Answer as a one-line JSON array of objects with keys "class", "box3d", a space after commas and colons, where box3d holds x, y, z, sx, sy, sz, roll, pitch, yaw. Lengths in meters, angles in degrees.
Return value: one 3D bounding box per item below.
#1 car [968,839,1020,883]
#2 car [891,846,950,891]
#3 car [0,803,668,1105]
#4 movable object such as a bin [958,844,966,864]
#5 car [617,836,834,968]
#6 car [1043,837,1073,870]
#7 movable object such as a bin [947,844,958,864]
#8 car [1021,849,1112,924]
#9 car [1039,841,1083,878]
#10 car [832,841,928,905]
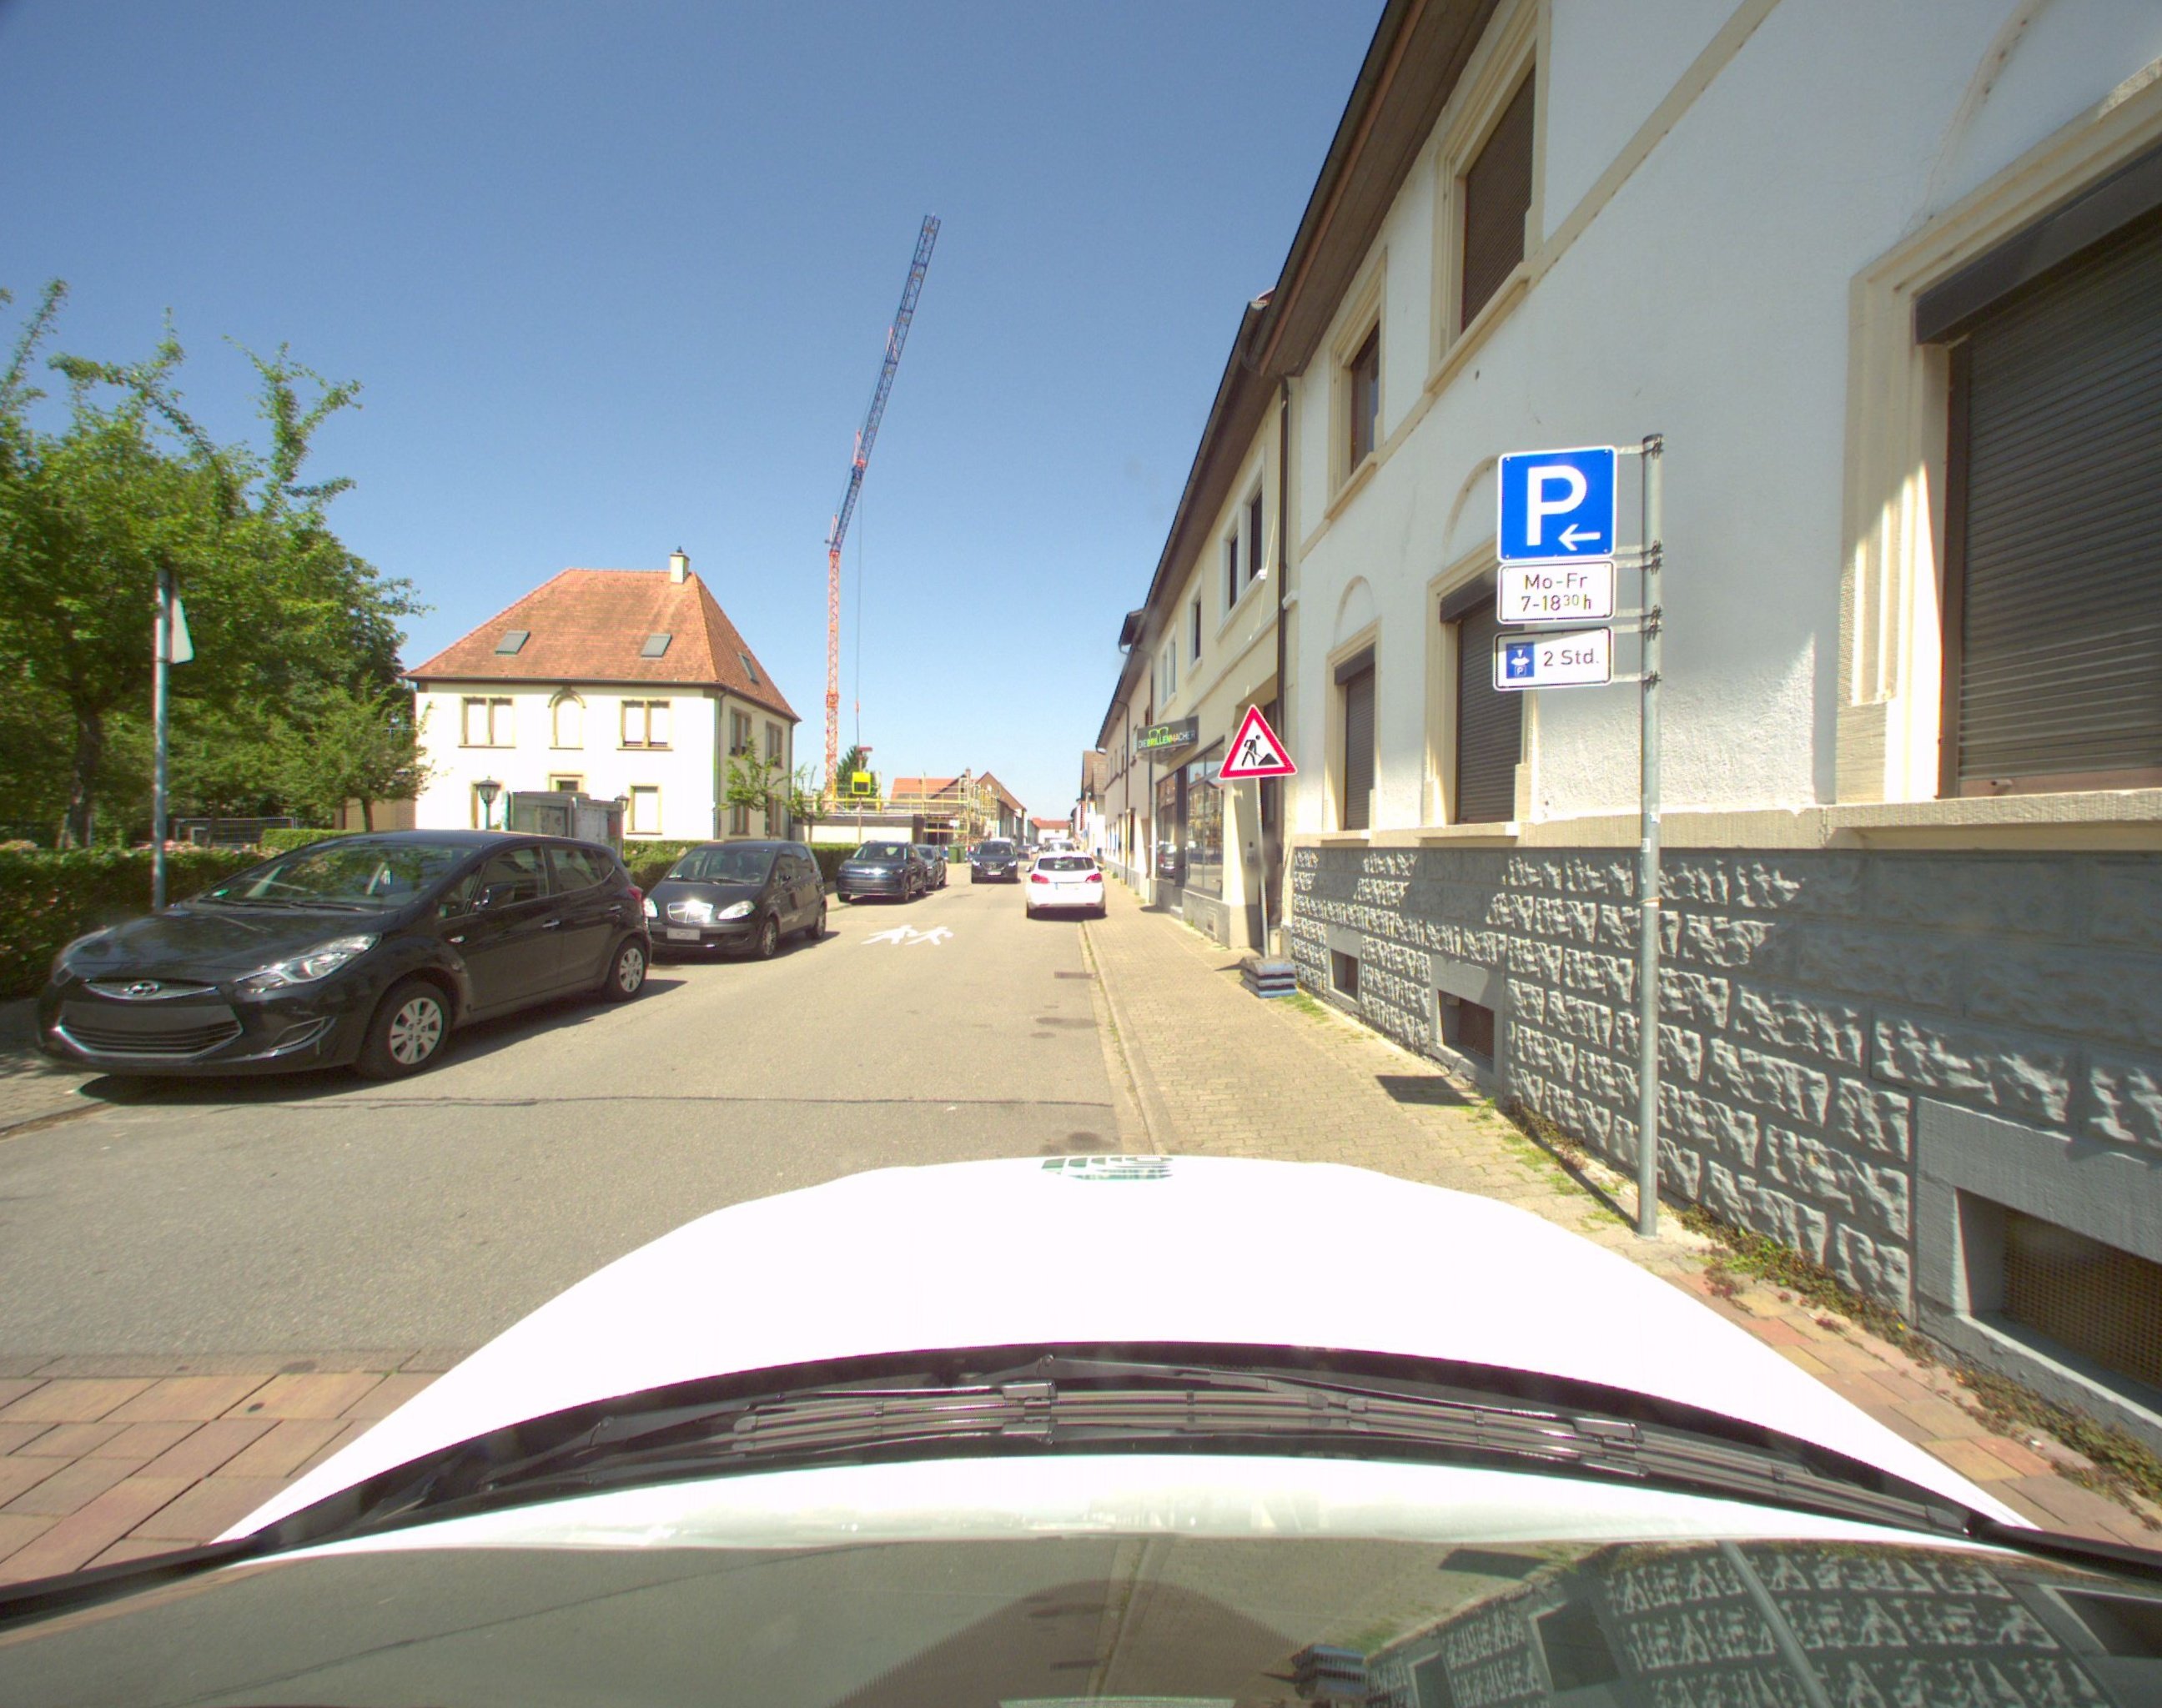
[{"class": "car", "box3d": [-3.493, 0.250, 33.346, 1.877, 1.668, 4.149, 1, 1, -3]}, {"class": "car", "box3d": [-5.509, 0.459, 28.305, 1.433, 1.474, 3.782, 0, 0, -3]}, {"class": "car", "box3d": [-5.172, 0.512, 6.372, 1.809, 1.604, 4.024, 1, 1, 0]}, {"class": "movable object such as a bin", "box3d": [-7.020, 0.005, 47.933, 0.431, 1.155, 0.363, 1, 1, -12]}, {"class": "car", "box3d": [-4.979, 0.571, 11.999, 1.633, 1.628, 3.765, 1, 1, -2]}, {"class": "car", "box3d": [-1.248, -0.073, 44.377, 1.560, 1.612, 3.541, 1, 3, -2]}, {"class": "movable object such as a bin", "box3d": [-7.468, -0.011, 47.467, 0.621, 1.155, 0.675, 1, 1, -9]}, {"class": "car", "box3d": [-0.405, 0.675, 19.264, 1.882, 1.542, 4.238, 1, 1, -3]}, {"class": "car", "box3d": [-1.024, 0.224, 39.207, 1.881, 1.556, 3.889, -3, 1, -4]}, {"class": "car", "box3d": [-5.519, 0.462, 22.875, 1.822, 1.630, 4.212, 1, 1, -3]}]
